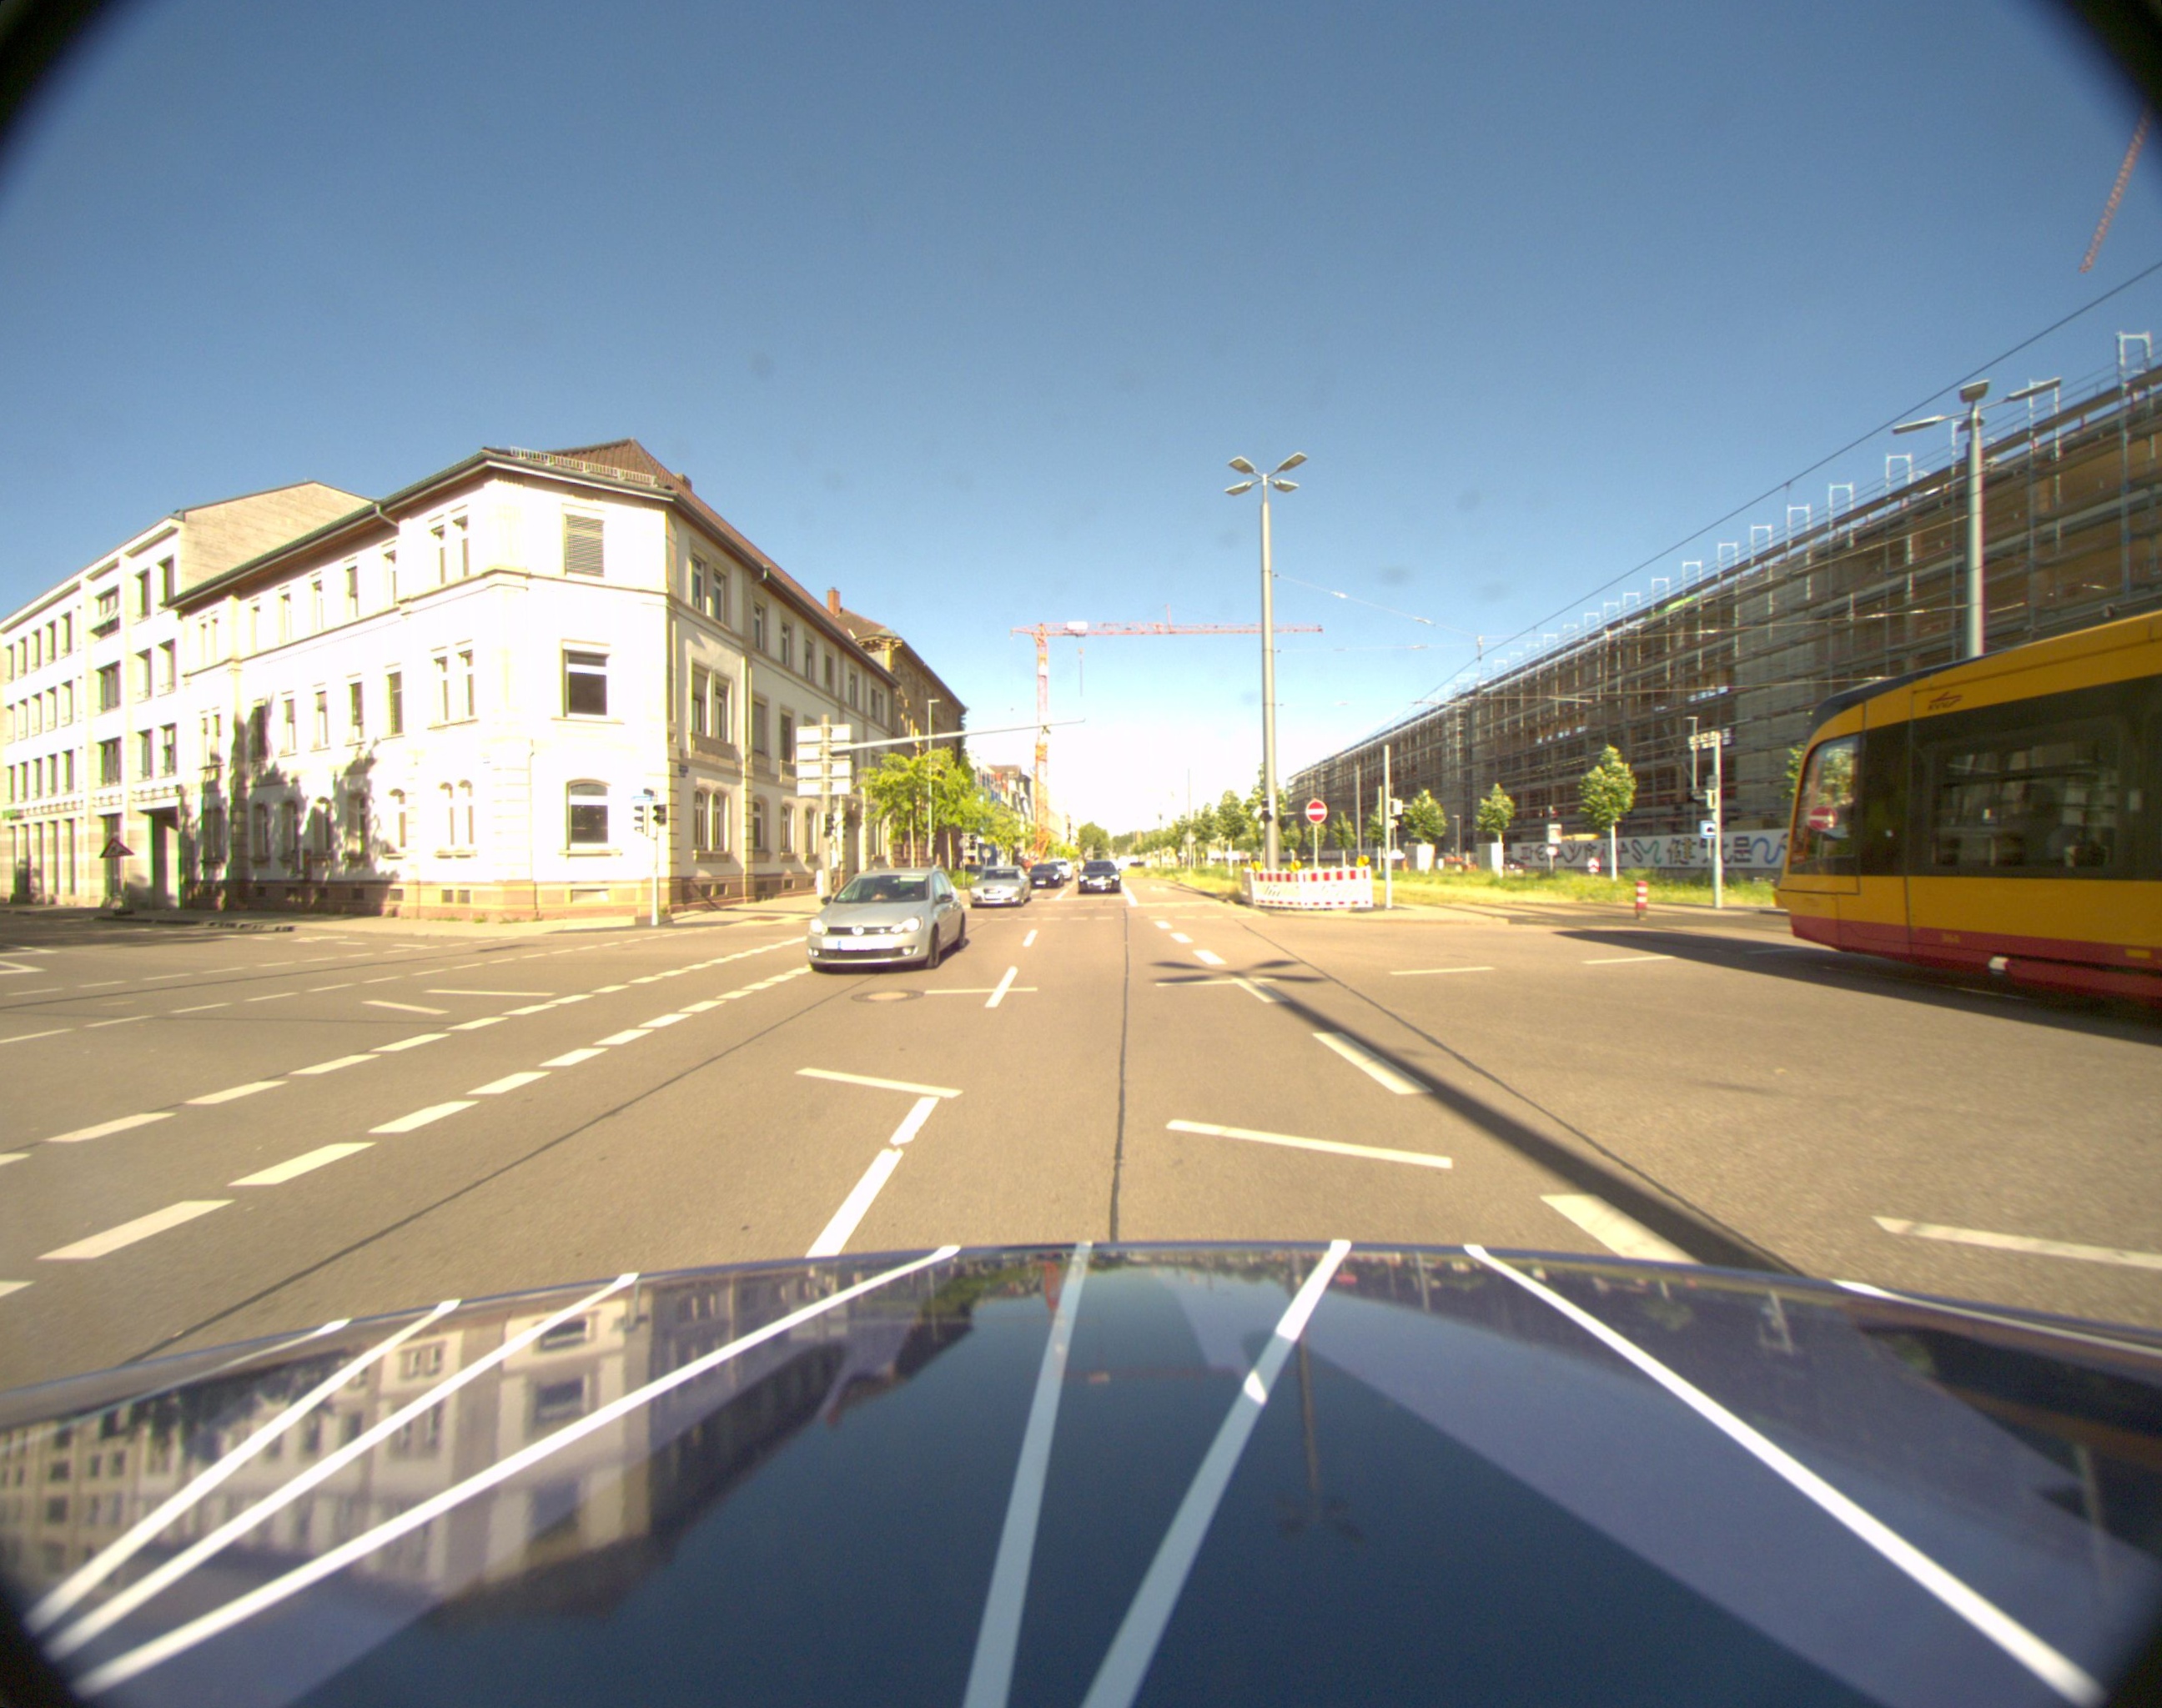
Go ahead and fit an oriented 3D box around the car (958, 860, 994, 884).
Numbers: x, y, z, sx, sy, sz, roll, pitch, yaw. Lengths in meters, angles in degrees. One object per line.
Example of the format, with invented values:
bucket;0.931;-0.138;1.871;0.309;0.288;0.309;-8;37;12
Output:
car;-6.645;1.091;48.251;1.609;1.435;4.000;0;0;2

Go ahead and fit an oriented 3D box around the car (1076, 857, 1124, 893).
car;0.777;0.883;34.136;1.999;1.493;3.999;0;0;-1

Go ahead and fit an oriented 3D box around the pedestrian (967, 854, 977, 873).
pedestrian;-8.971;0.764;62.432;0.669;1.552;0.906;-2;1;0

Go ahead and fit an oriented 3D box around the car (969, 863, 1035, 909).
car;-2.787;1.106;27.528;1.839;1.415;4.000;-2;0;1

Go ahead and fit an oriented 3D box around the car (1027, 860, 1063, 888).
car;-1.975;1.109;43.142;1.703;1.415;4.000;-2;0;2

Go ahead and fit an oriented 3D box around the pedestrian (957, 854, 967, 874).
pedestrian;-9.775;0.813;62.361;0.669;1.552;0.906;-2;1;0

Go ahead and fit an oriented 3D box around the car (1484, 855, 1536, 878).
car;29.045;0.797;51.548;1.598;1.458;3.480;-2;0;1

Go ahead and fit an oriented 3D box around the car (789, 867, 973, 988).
car;-2.914;1.004;11.988;1.703;1.465;4.000;-2;0;2

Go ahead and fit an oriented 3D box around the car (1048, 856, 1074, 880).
car;-1.455;0.984;56.145;1.703;1.622;4.000;-2;0;2

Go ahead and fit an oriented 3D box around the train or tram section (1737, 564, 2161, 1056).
train or tram section;8.768;-0.329;2.509;1.998;3.648;14.156;-2;0;5
